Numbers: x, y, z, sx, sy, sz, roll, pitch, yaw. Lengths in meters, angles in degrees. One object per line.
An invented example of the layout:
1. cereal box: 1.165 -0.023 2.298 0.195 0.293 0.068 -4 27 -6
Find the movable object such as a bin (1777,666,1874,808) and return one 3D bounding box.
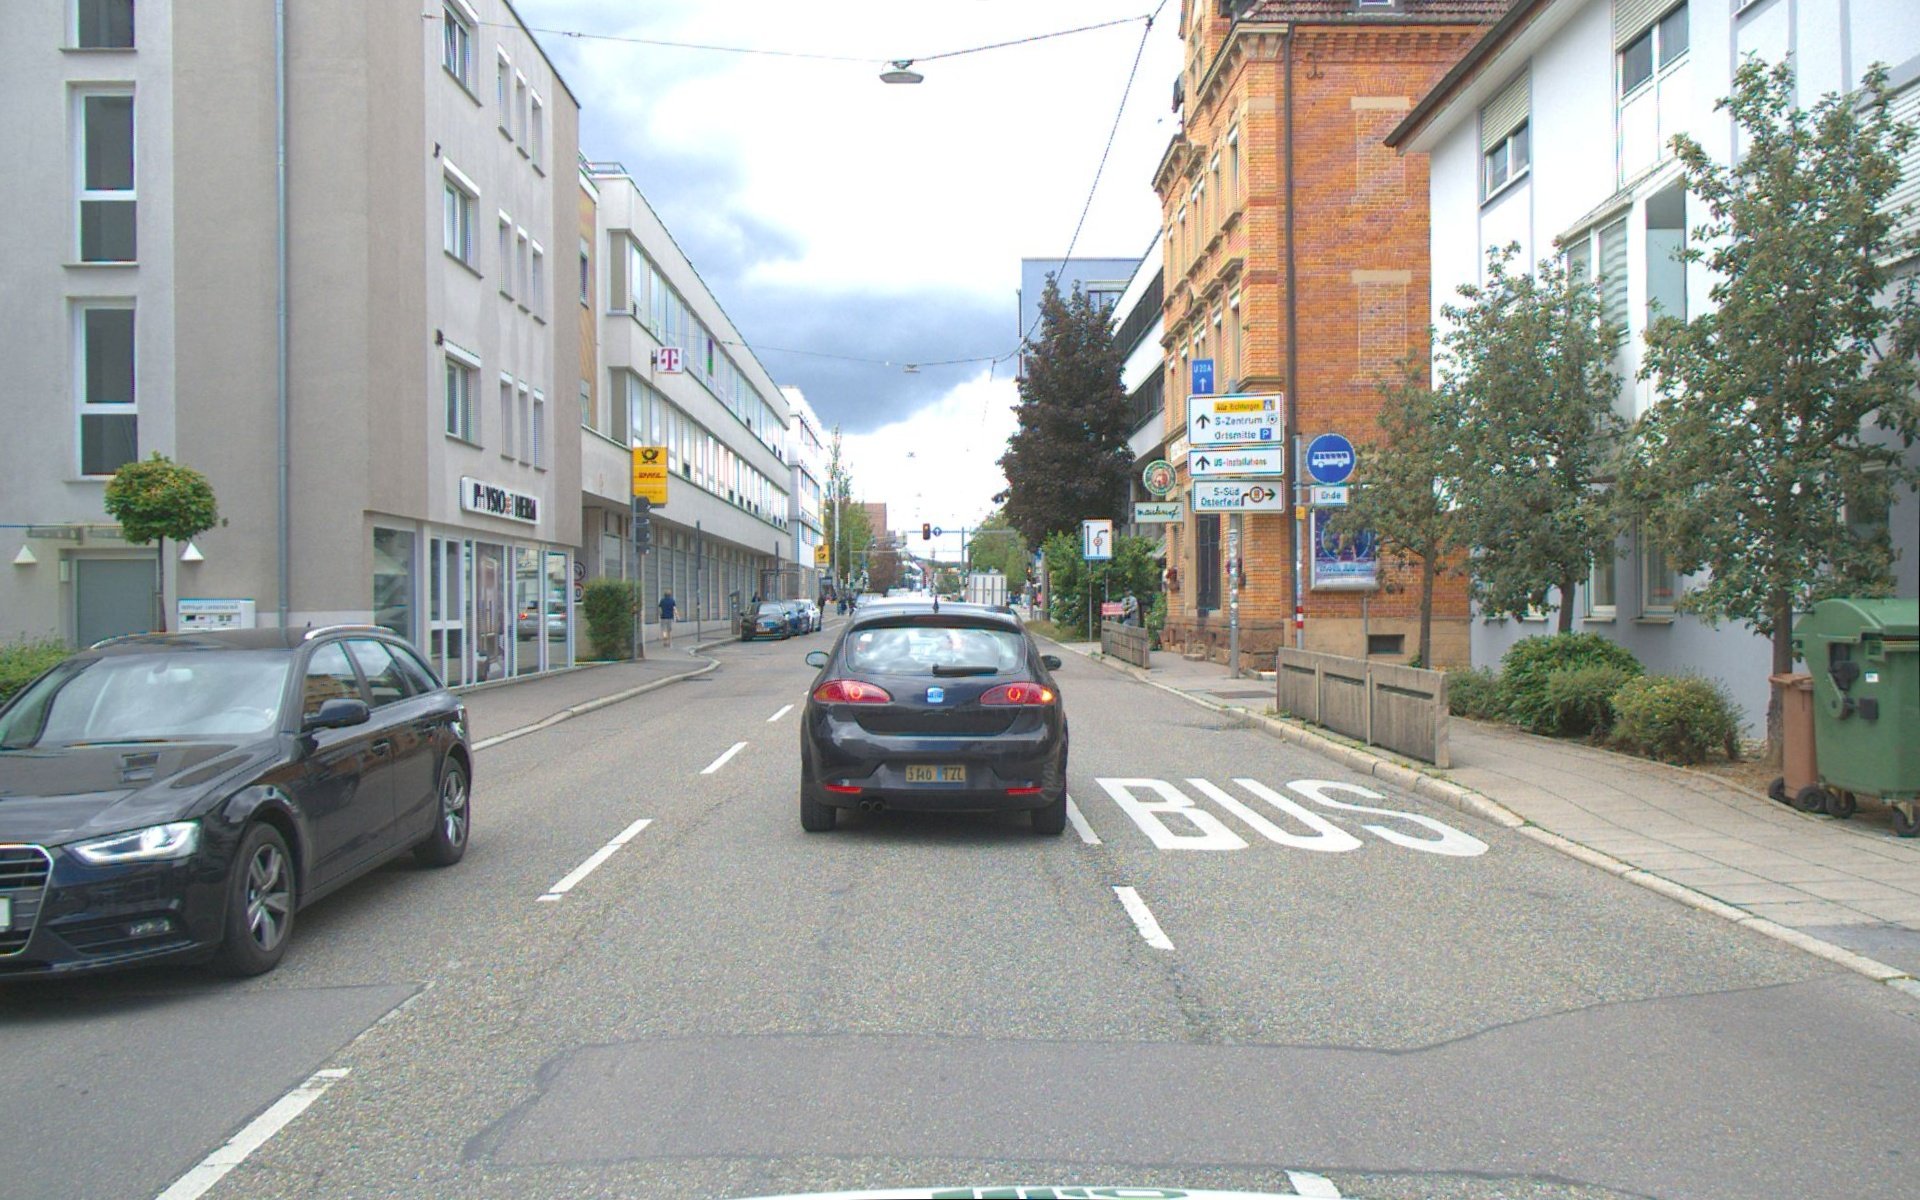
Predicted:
1. movable object such as a bin: 6.001 0.939 11.478 0.421 0.937 0.465 0 0 -1

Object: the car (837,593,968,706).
1. car: -0.833 0.673 24.477 1.767 1.519 3.736 -1 0 -2

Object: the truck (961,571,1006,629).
1. truck: 1.069 0.001 77.503 1.953 2.653 3.259 -1 0 -2

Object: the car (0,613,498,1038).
1. car: -3.804 0.881 8.219 1.840 1.476 4.213 -3 0 -1

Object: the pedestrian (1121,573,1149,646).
1. pedestrian: 4.971 0.269 47.033 0.679 2.049 0.676 -1 0 -2

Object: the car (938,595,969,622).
1. car: -0.408 0.496 99.733 1.767 1.629 3.736 1 0 -2

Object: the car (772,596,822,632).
1. car: -7.308 0.623 74.446 1.953 1.543 4.173 -1 0 -2

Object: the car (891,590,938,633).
1. car: -1.781 0.442 64.660 1.767 1.629 3.736 1 0 -2

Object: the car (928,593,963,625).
1. car: -0.790 0.441 87.103 1.767 1.629 3.736 1 0 -2

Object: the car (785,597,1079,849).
1. car: -0.193 0.723 11.701 1.730 1.458 3.827 0 0 -1

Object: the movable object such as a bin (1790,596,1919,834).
1. movable object such as a bin: 6.271 0.698 10.669 1.241 1.442 1.162 0 0 -1

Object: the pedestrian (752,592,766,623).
1. pedestrian: -10.669 0.386 87.652 0.642 1.651 0.681 -1 0 0

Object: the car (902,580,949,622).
1. car: -1.352 0.024 64.353 1.767 1.580 3.736 -1 0 -2

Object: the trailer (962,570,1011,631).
1. trailer: 1.144 0.018 74.707 1.953 2.653 5.347 -1 0 -2

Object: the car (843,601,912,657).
1. car: -2.207 0.734 44.362 1.744 1.389 4.410 0 0 -3

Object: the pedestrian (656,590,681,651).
1. pedestrian: -8.746 0.603 49.672 0.630 1.800 0.809 -1 0 -3

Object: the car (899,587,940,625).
1. car: -1.804 0.261 73.227 1.767 1.629 3.736 1 0 -2

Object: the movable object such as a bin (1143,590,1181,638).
1. movable object such as a bin: 6.457 0.448 52.963 0.924 1.496 1.445 -2 0 -3

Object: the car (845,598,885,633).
1. car: -5.113 0.802 89.408 1.953 1.769 4.552 -2 0 -2

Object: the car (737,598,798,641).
1. car: -7.298 0.716 63.032 1.874 1.543 4.173 -2 0 -2

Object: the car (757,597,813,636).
1. car: -7.248 0.654 68.742 1.953 1.543 4.173 -1 0 -2

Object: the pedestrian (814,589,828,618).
1. pedestrian: -9.435 0.230 112.302 0.899 1.901 0.783 -1 0 -2

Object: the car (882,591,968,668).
1. car: -0.779 0.607 36.381 1.767 1.580 3.736 -1 0 -2
